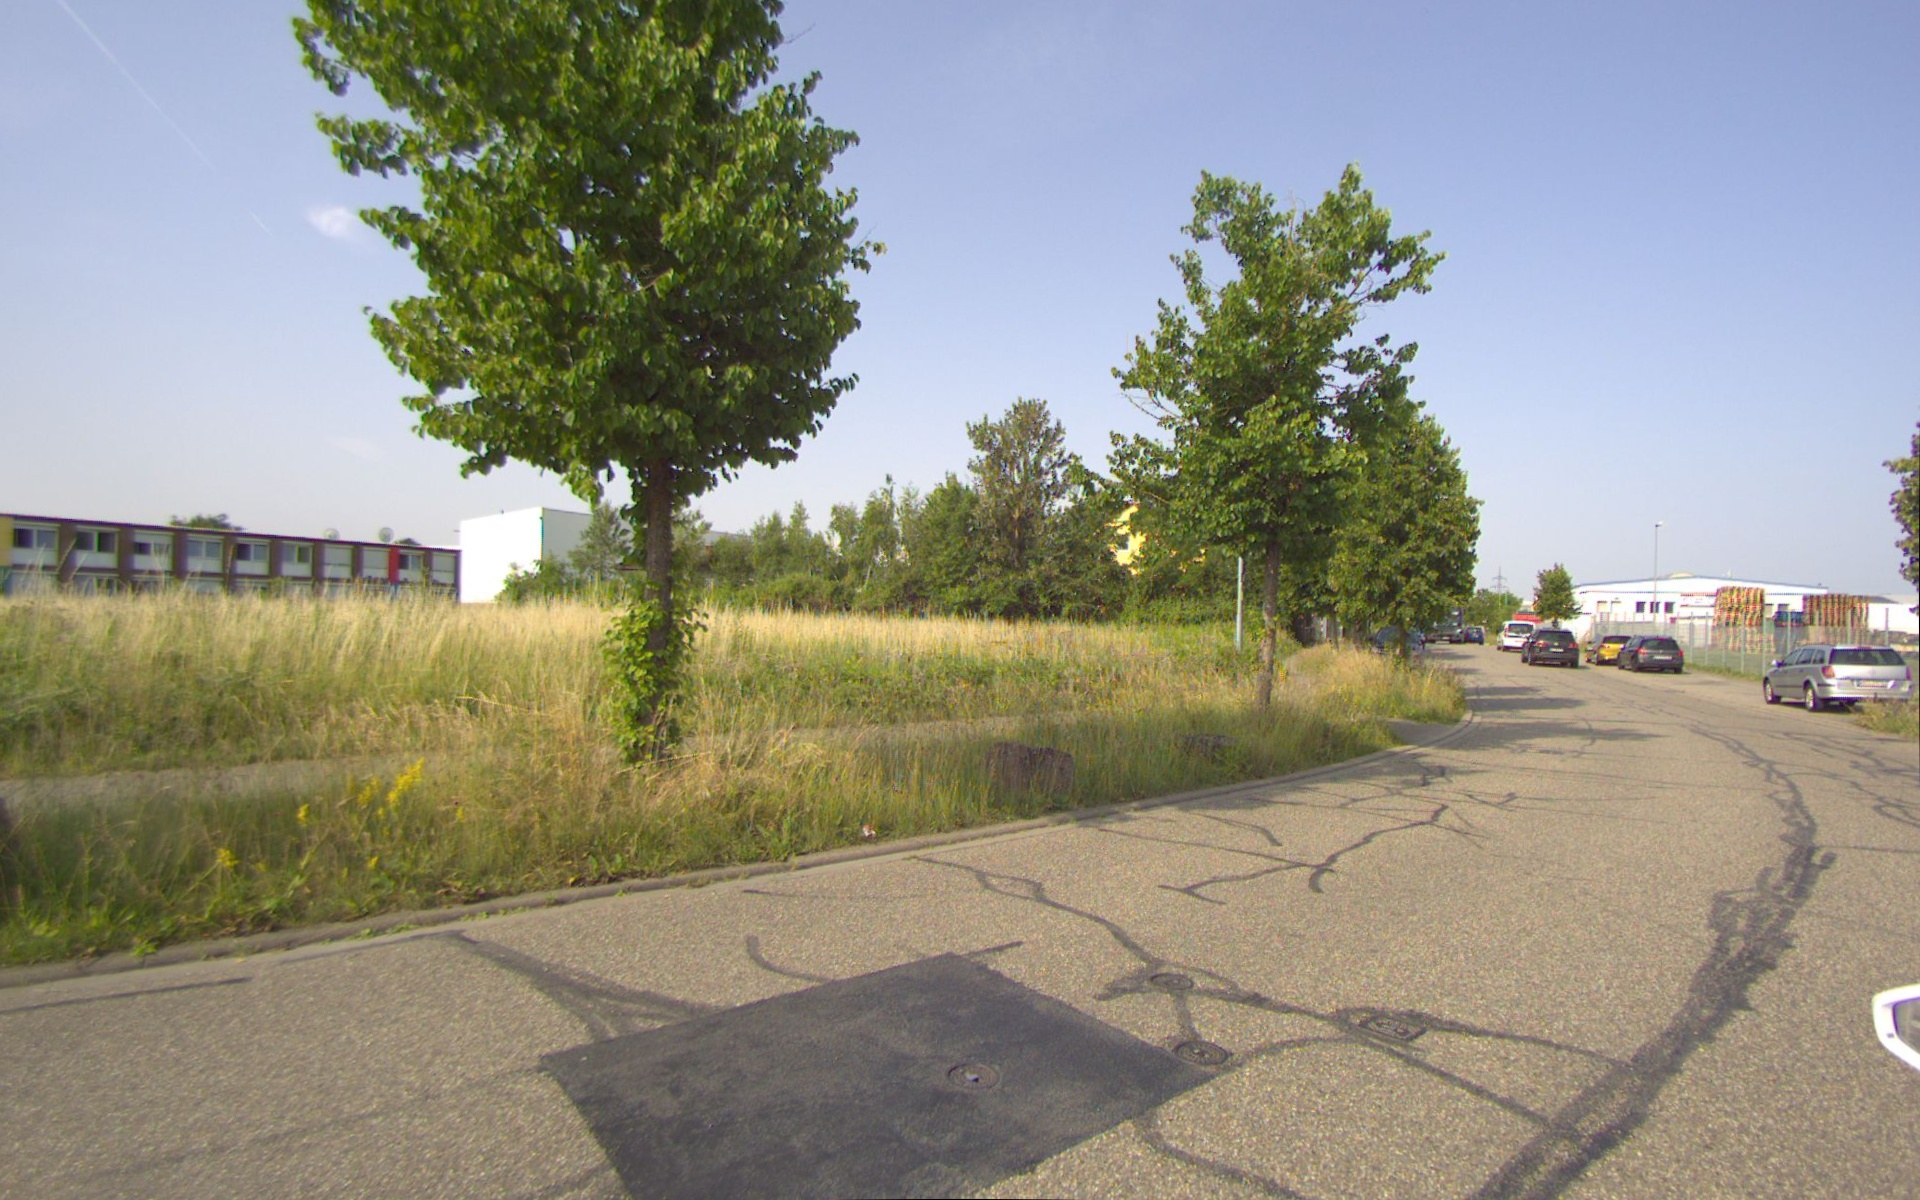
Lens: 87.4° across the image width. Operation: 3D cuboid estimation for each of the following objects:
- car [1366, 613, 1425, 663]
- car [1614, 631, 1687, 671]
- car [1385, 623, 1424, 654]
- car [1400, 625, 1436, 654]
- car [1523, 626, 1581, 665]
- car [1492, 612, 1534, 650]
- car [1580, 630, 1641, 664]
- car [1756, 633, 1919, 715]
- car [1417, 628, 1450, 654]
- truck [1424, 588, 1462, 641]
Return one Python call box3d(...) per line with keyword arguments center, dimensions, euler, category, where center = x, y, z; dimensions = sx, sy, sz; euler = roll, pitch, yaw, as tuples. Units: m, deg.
box3d(center=(16.514, 1.400, 37.977), dimensions=(1.873, 1.647, 4.445), euler=(3, 0, 25), category="car")
box3d(center=(28.610, 2.083, 41.735), dimensions=(1.687, 1.535, 4.003), euler=(0, -1, 22), category="car")
box3d(center=(24.241, 2.077, 54.667), dimensions=(1.804, 1.516, 4.046), euler=(3, 0, 25), category="car")
box3d(center=(27.127, 2.316, 59.480), dimensions=(1.804, 1.516, 4.046), euler=(3, 0, 25), category="car")
box3d(center=(26.626, 2.017, 45.303), dimensions=(1.851, 1.607, 4.110), euler=(2, -1, 25), category="car")
box3d(center=(33.735, 1.876, 61.409), dimensions=(2.089, 2.138, 4.619), euler=(2, -1, 27), category="car")
box3d(center=(30.473, 2.164, 47.172), dimensions=(1.687, 1.474, 4.185), euler=(0, -1, 23), category="car")
box3d(center=(20.278, 1.610, 23.270), dimensions=(1.770, 1.647, 4.446), euler=(0, -1, 24), category="car")
box3d(center=(31.057, 2.652, 65.900), dimensions=(1.804, 1.516, 4.046), euler=(3, 0, 25), category="car")
box3d(center=(40.309, 1.243, 84.072), dimensions=(2.458, 4.200, 10.373), euler=(0, -1, 24), category="truck")
